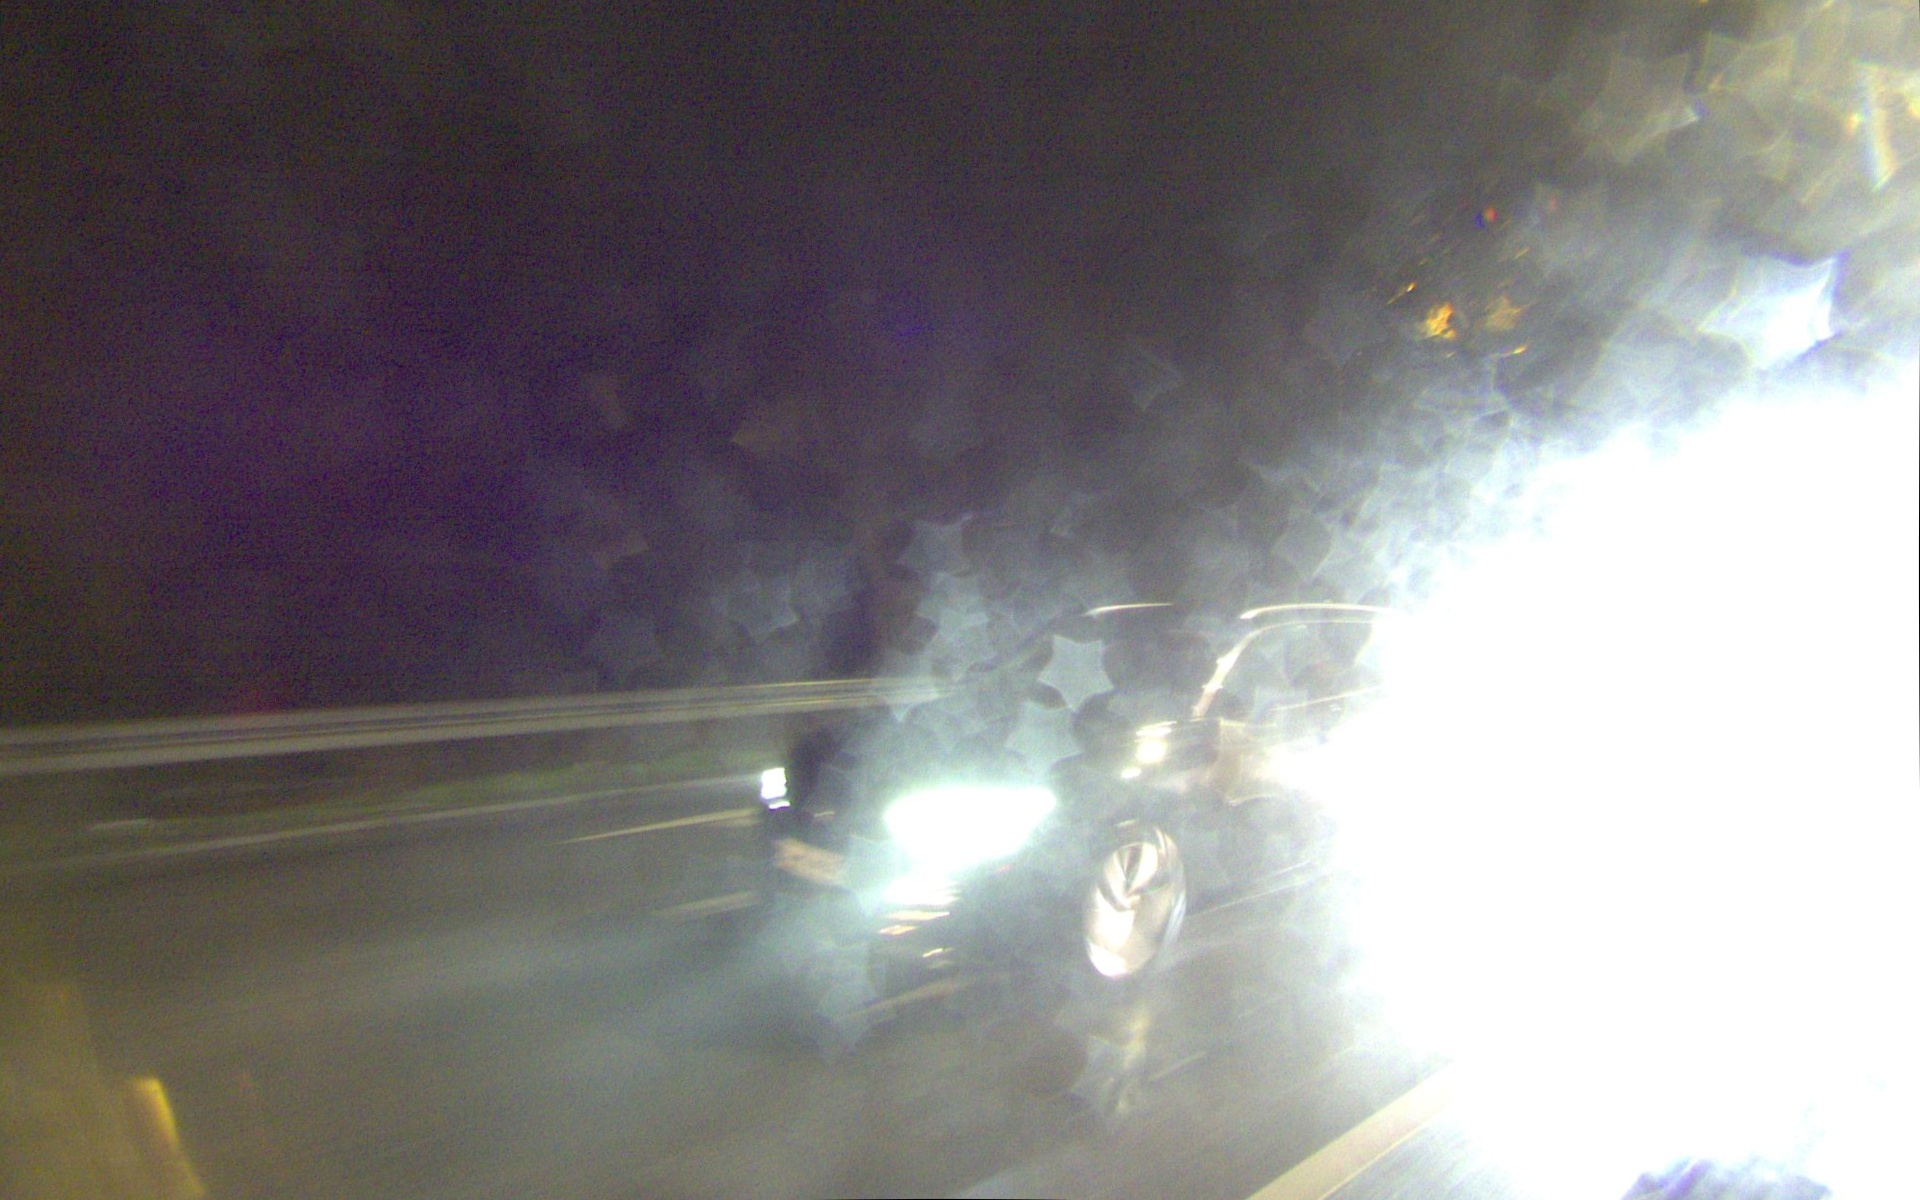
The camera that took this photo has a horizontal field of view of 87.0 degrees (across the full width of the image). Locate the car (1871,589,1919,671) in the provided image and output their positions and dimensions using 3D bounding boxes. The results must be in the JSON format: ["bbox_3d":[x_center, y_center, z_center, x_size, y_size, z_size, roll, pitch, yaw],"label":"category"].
[{"bbox_3d":[18.958,0.509,19.185,4.063,1.435,1.743,-1,0,-37],"label":"car"}]

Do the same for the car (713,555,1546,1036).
[{"bbox_3d":[1.162,0.659,5.279,4.476,1.526,1.676,0,-3,-38],"label":"car"}]

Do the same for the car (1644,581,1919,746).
[{"bbox_3d":[9.754,0.593,11.722,4.333,1.541,1.711,-1,0,-37],"label":"car"}]
